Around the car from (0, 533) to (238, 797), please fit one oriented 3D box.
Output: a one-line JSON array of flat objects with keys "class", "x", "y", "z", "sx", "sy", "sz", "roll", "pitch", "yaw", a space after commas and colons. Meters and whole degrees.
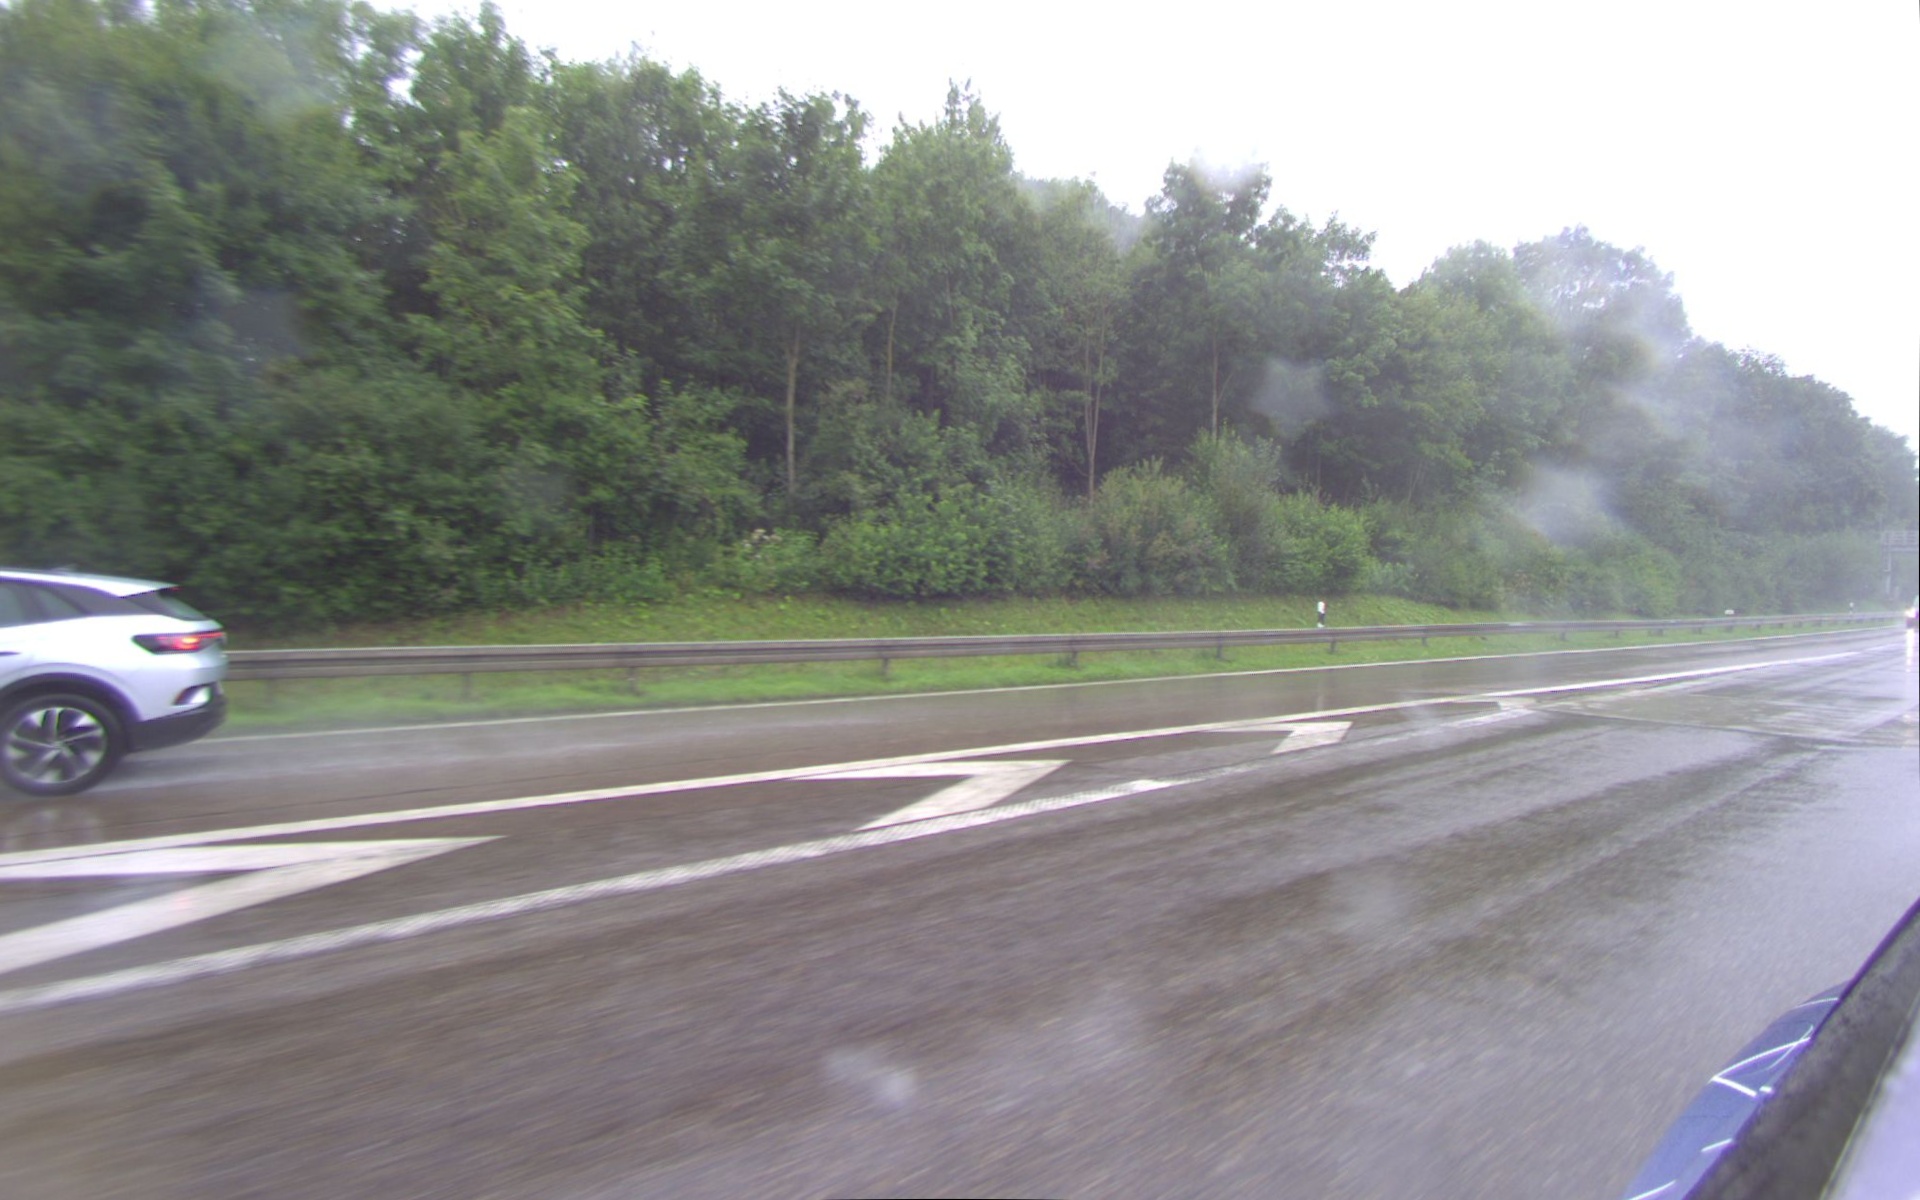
[{"class": "car", "x": -8.262, "y": 0.454, "z": 6.756, "sx": 5.555, "sy": 1.772, "sz": 2.000, "roll": -1, "pitch": 0, "yaw": -35}]
